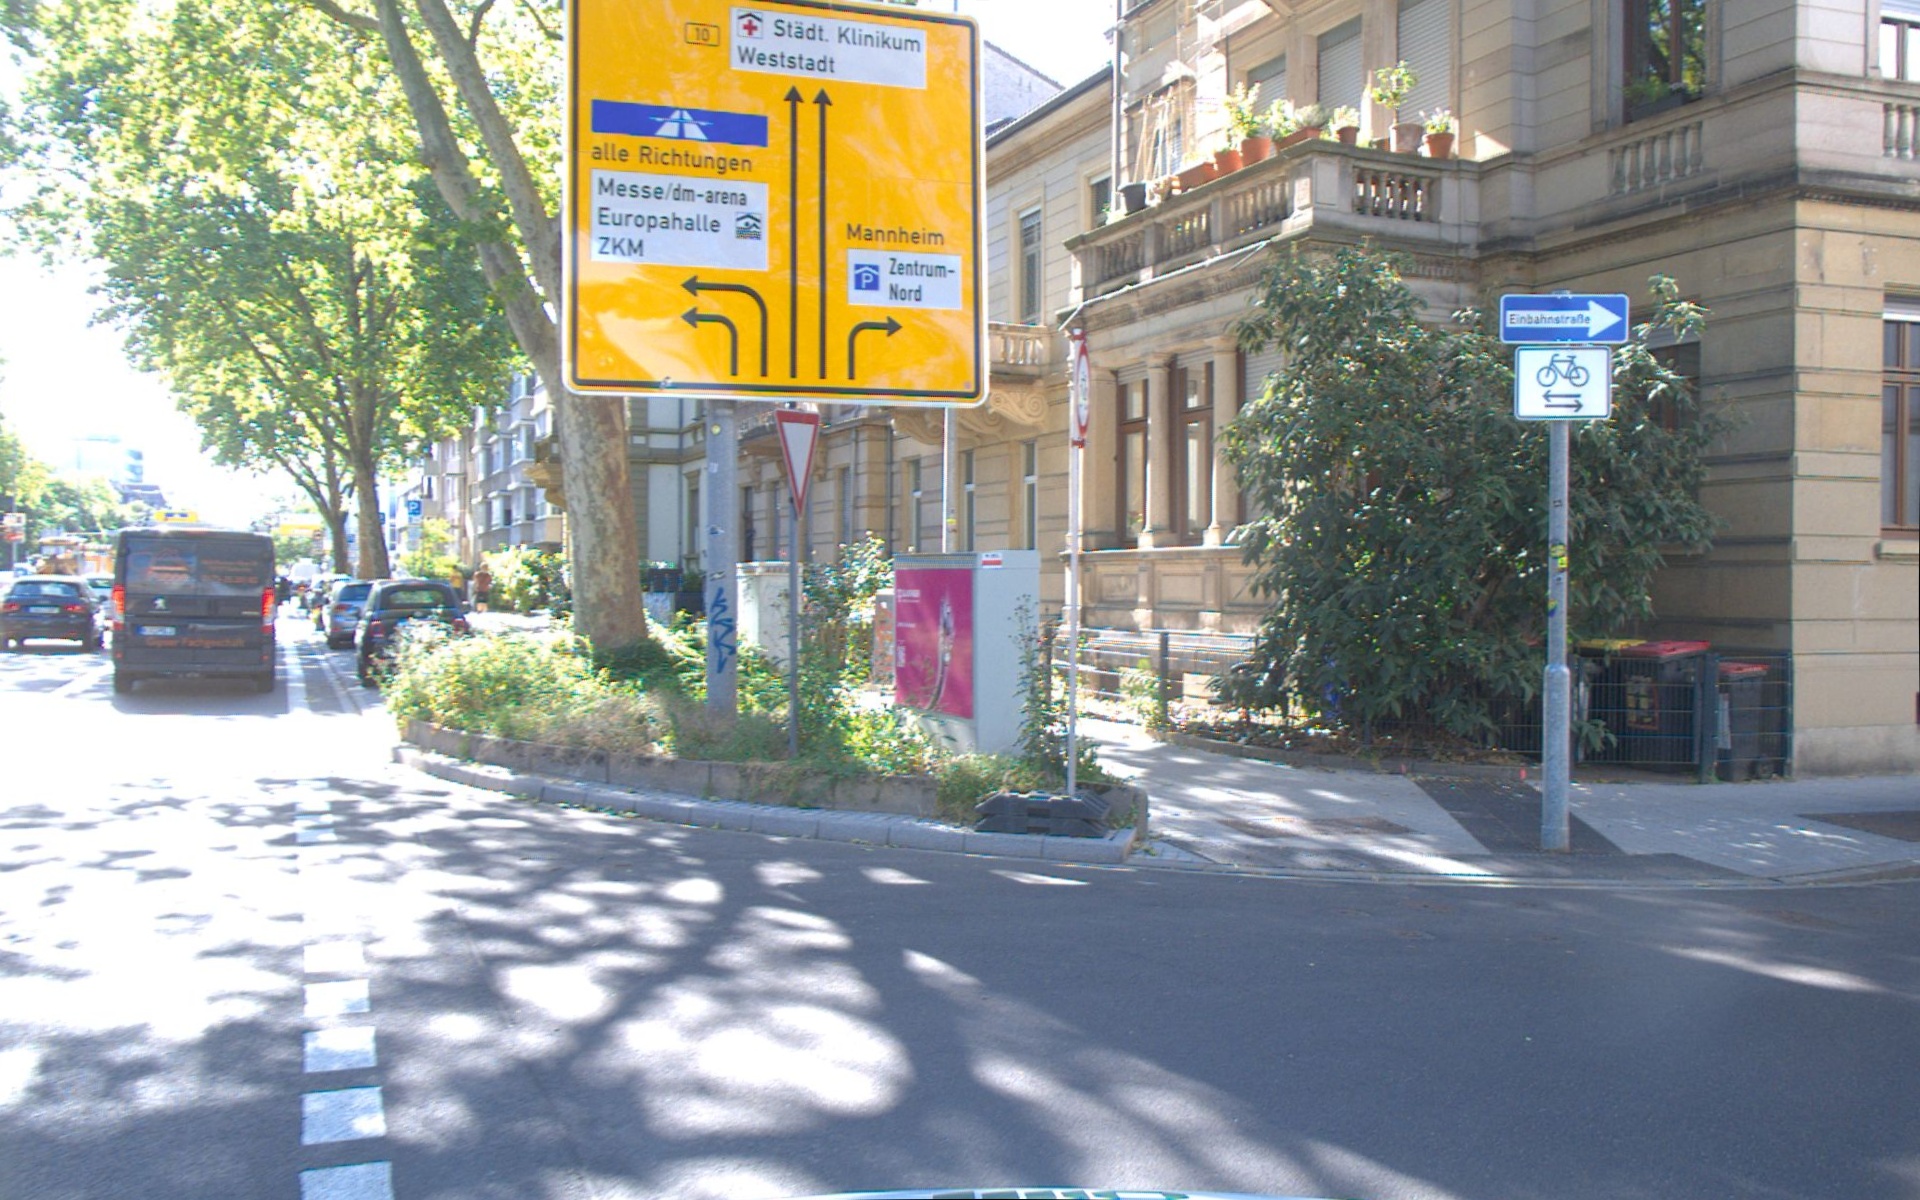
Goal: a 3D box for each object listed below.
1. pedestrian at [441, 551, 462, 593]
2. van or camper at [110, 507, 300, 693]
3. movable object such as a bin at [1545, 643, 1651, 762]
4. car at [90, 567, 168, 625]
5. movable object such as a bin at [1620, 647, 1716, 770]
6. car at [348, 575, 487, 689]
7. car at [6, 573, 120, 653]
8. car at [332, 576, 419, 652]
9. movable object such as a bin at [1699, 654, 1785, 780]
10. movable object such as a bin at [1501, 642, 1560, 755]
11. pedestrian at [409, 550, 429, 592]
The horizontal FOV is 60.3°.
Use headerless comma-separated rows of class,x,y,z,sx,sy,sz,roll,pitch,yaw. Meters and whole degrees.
pedestrian,-29.686,-1.641,96.520,1.042,2.387,0.811,2,-1,-20
van or camper,-10.755,-0.005,23.708,2.216,2.387,4.504,1,0,-24
movable object such as a bin,5.564,0.878,14.437,0.677,0.987,0.544,0,0,-21
car,-22.907,-0.123,45.675,1.597,1.512,3.708,1,0,-22
movable object such as a bin,5.969,0.900,13.954,0.511,0.987,0.544,0,0,-20
car,-8.395,0.433,25.411,1.748,1.596,3.972,0,1,-23
car,-18.092,0.241,33.495,1.597,1.512,3.708,1,0,-22
car,-13.092,0.271,36.976,1.747,1.596,3.975,0,0,-21
movable object such as a bin,6.351,0.940,13.438,0.511,0.987,0.396,0,0,-21
movable object such as a bin,5.119,0.877,14.851,0.338,0.987,0.380,0,0,-20
pedestrian,-31.668,-1.691,96.776,1.042,2.387,0.811,2,-1,-20
